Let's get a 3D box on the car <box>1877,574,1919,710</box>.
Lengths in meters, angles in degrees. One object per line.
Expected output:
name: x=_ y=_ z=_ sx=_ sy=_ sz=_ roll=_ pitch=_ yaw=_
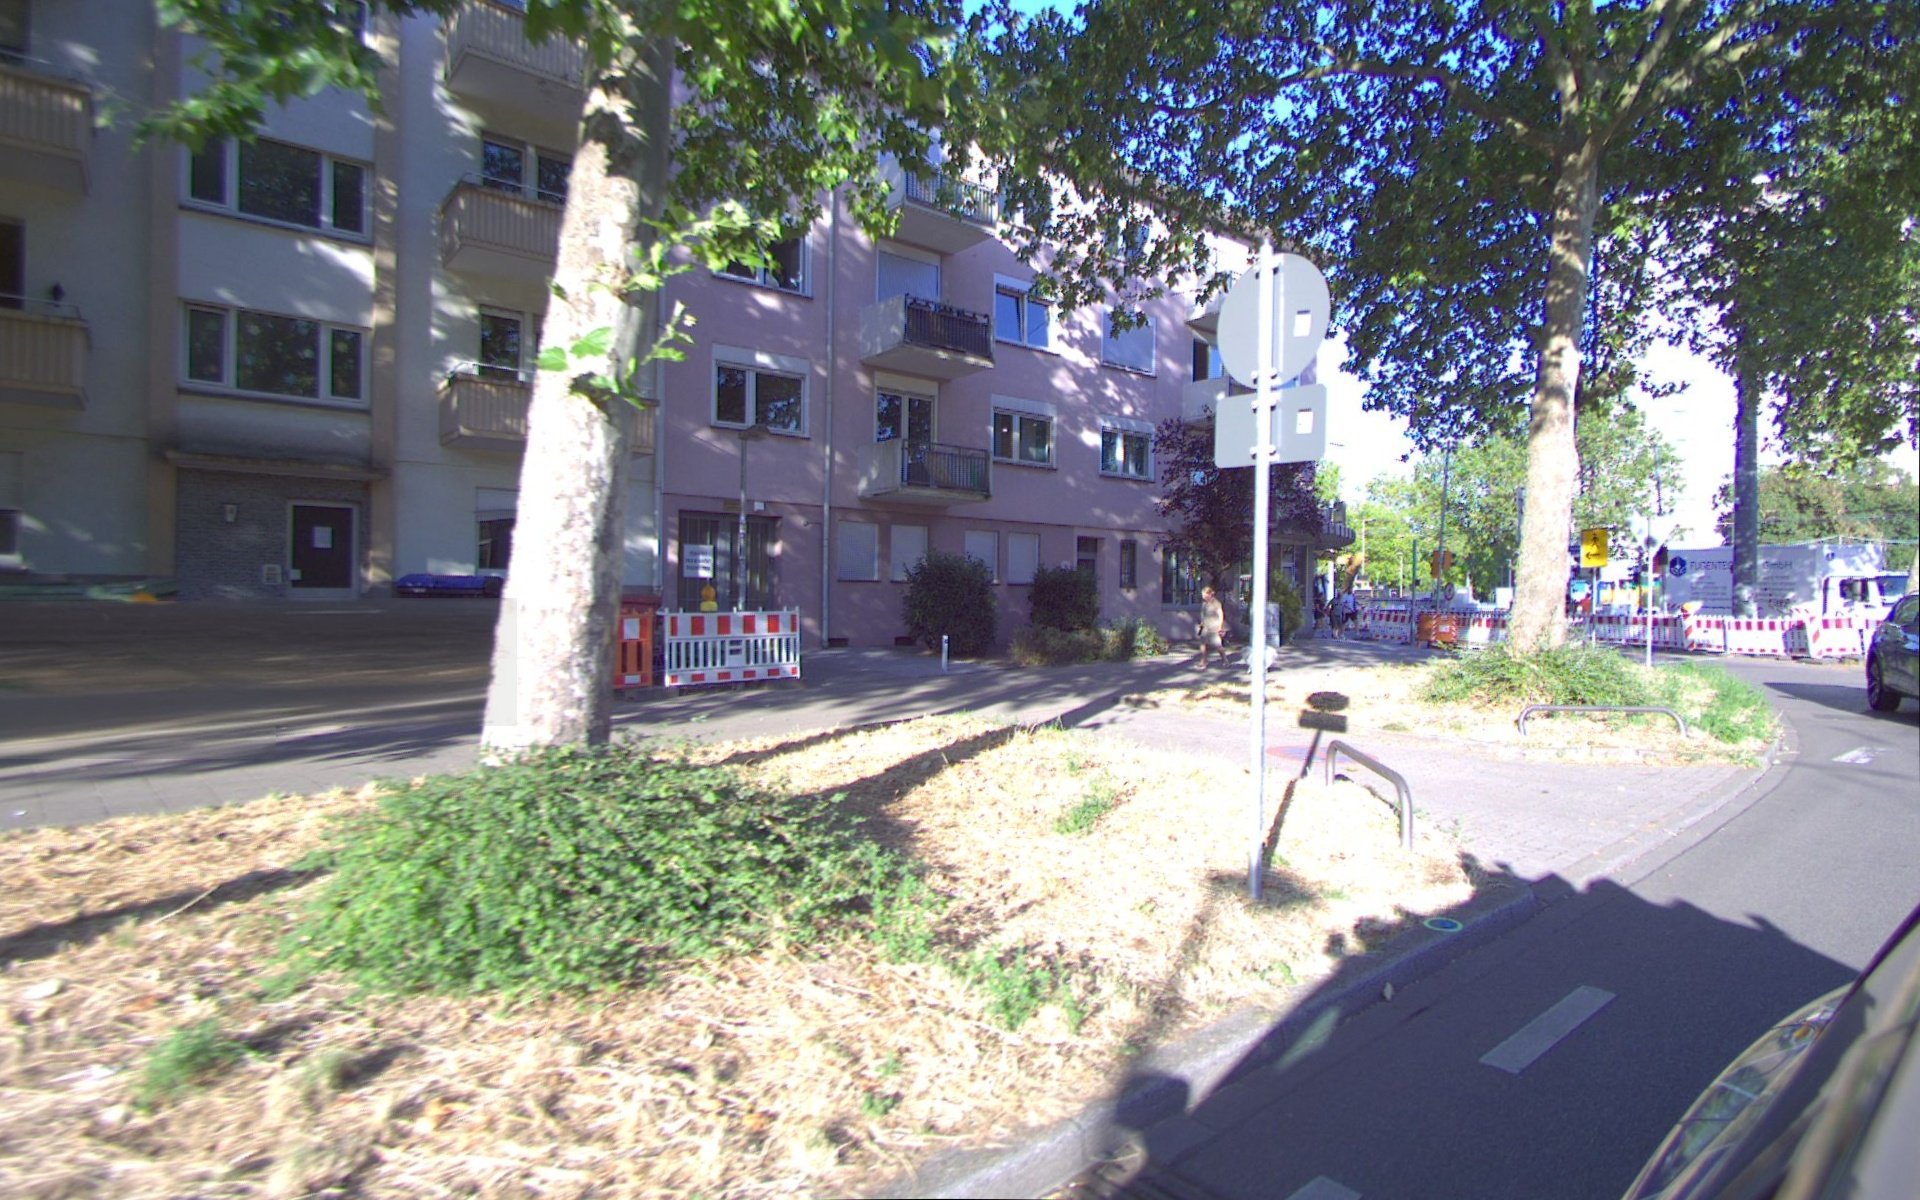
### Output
car: x=12.750 y=0.519 z=12.091 sx=1.985 sy=1.668 sz=4.155 roll=0 pitch=0 yaw=33

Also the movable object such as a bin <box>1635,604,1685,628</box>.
movable object such as a bin: x=28.212 y=0.649 z=40.790 sx=0.917 sy=0.928 sz=1.421 roll=0 pitch=1 yaw=-32

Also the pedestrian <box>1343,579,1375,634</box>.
pedestrian: x=14.192 y=0.228 z=36.008 sx=0.827 sy=1.893 sz=1.096 roll=2 pitch=1 yaw=11

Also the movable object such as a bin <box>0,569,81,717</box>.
movable object such as a bin: x=-9.909 y=0.408 z=10.379 sx=0.822 sy=1.452 sz=1.301 roll=0 pitch=0 yaw=-12

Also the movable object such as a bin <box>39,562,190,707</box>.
movable object such as a bin: x=-9.033 y=0.333 z=10.881 sx=0.822 sy=1.452 sz=1.301 roll=0 pitch=0 yaw=-19

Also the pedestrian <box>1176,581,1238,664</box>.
pedestrian: x=4.562 y=0.395 z=18.687 sx=0.802 sy=1.493 sz=0.791 roll=0 pitch=0 yaw=-43

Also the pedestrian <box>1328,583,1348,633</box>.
pedestrian: x=13.295 y=0.281 z=35.629 sx=0.578 sy=1.730 sz=0.673 roll=1 pitch=-2 yaw=24

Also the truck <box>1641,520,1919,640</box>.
truck: x=28.450 y=-0.638 z=34.996 sx=2.763 sy=3.586 sz=8.997 roll=0 pitch=0 yaw=-9

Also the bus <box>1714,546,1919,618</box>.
bus: x=49.786 y=-0.976 z=56.268 sx=3.032 sy=3.769 sz=12.292 roll=0 pitch=1 yaw=-38

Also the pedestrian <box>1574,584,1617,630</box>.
pedestrian: x=25.311 y=0.262 z=40.305 sx=0.955 sy=1.821 sz=1.072 roll=0 pitch=0 yaw=-18

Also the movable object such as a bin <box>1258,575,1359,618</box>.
movable object such as a bin: x=19.927 y=-0.193 z=58.059 sx=2.605 sy=2.347 sz=4.895 roll=0 pitch=0 yaw=-40

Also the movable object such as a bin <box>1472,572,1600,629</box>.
movable object such as a bin: x=24.611 y=0.000 z=43.479 sx=1.959 sy=2.285 sz=5.215 roll=-1 pitch=1 yaw=-8
